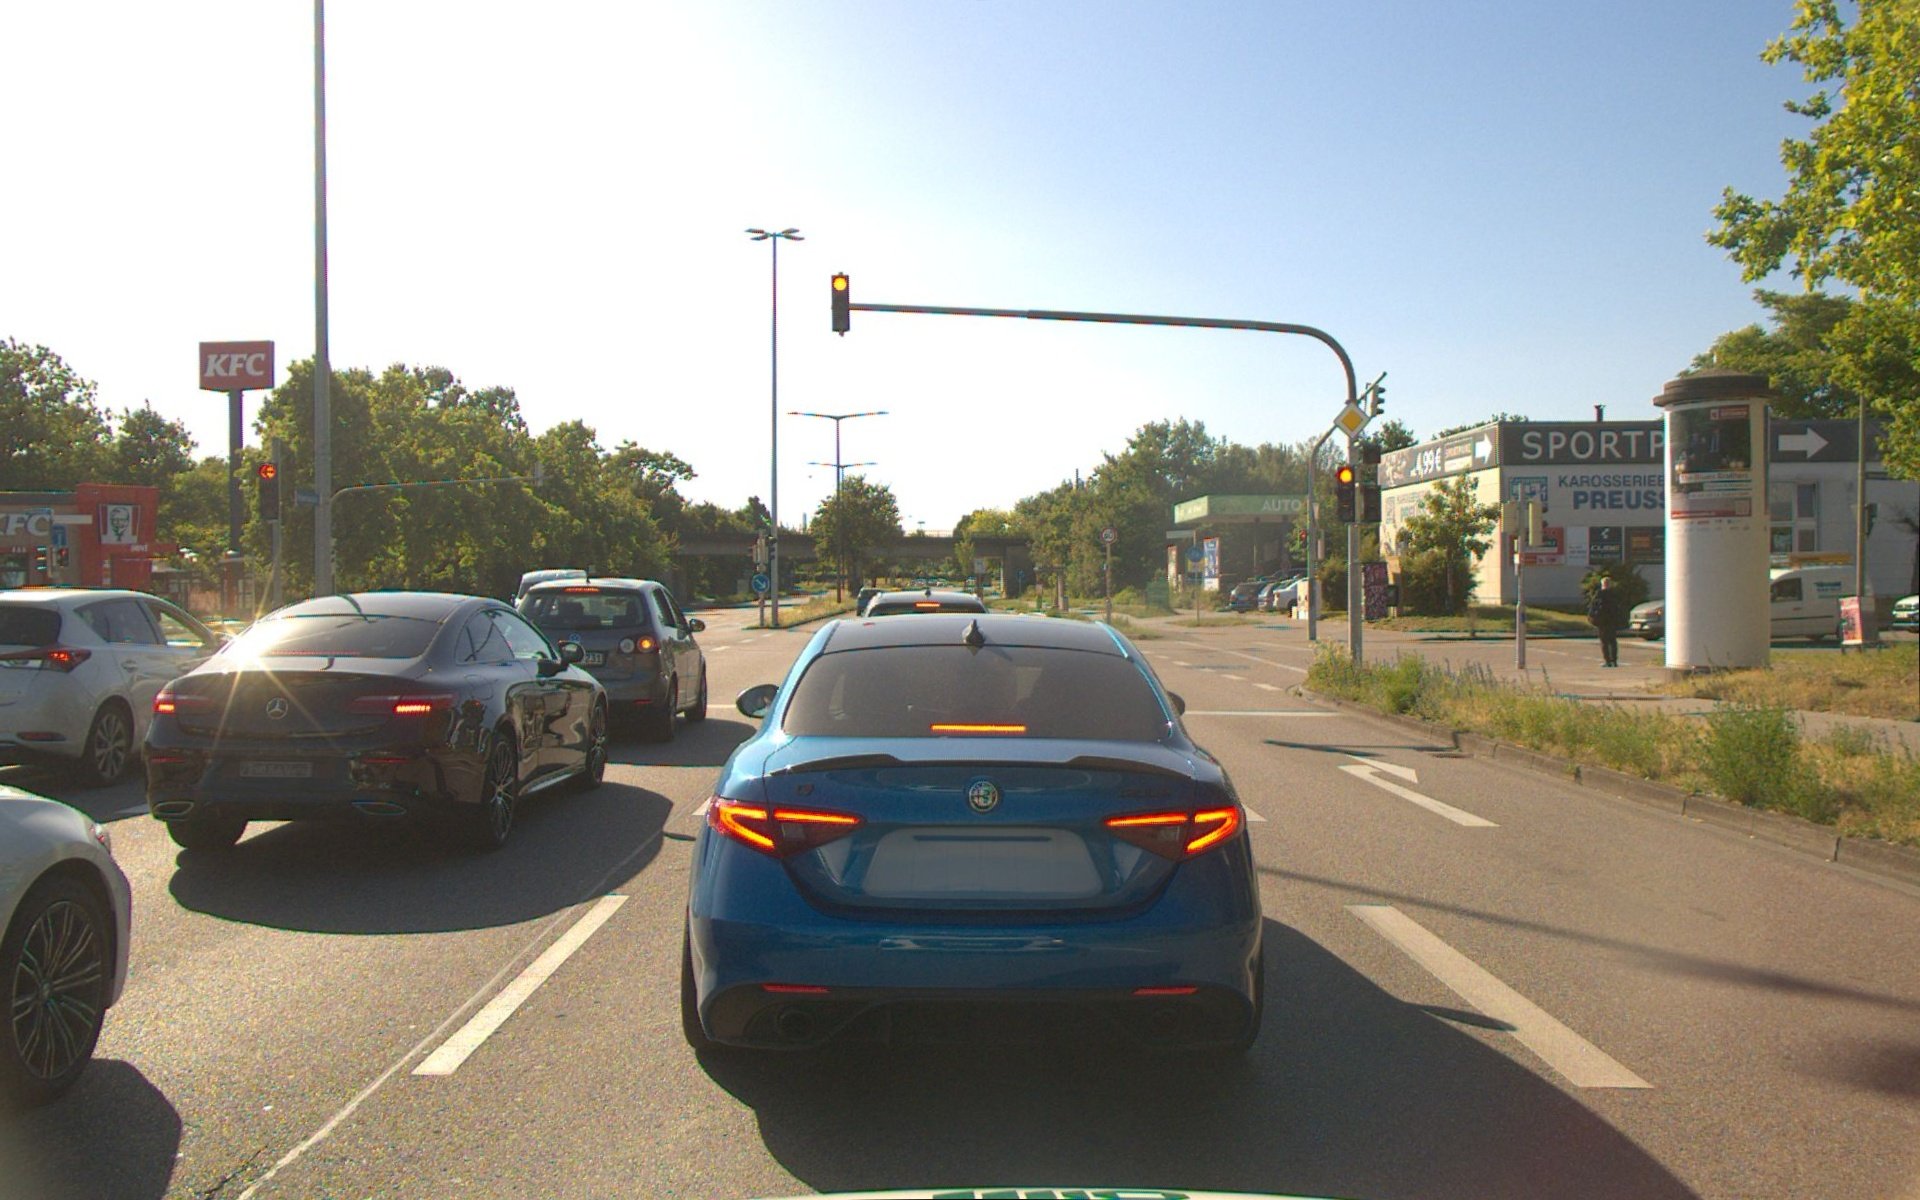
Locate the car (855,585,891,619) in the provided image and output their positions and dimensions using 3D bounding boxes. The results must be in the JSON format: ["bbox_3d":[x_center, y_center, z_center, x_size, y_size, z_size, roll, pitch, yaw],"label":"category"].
[{"bbox_3d":[-4.886,0.120,93.634,1.853,1.847,3.999,1,0,-1],"label":"car"}]

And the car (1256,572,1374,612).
[{"bbox_3d":[14.486,-0.322,67.586,4.397,1.479,1.858,-2,0,1],"label":"car"}]

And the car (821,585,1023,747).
[{"bbox_3d":[-0.413,0.606,17.236,1.813,1.443,4.401,1,0,-2],"label":"car"}]

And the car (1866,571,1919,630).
[{"bbox_3d":[26.345,-0.043,43.587,3.960,1.516,1.782,-2,0,-3],"label":"car"}]

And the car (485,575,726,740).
[{"bbox_3d":[-3.623,0.544,17.664,1.723,1.516,4.401,1,0,-2],"label":"car"}]

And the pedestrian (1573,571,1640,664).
[{"bbox_3d":[12.573,0.329,32.176,0.906,1.765,0.938,1,-1,-1],"label":"pedestrian"}]

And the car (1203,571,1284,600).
[{"bbox_3d":[16.724,-0.852,97.596,4.457,1.516,1.765,-2,0,1],"label":"car"}]

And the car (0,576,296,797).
[{"bbox_3d":[-7.084,0.594,13.507,1.723,1.516,4.195,1,0,-2],"label":"car"}]

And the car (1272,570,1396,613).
[{"bbox_3d":[14.609,-0.322,64.809,4.397,1.479,1.858,-2,0,1],"label":"car"}]

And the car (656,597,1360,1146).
[{"bbox_3d":[0.068,0.737,6.608,1.857,1.443,4.401,1,0,-2],"label":"car"}]

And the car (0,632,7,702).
[{"bbox_3d":[-20.109,1.389,31.561,1.695,1.434,4.299,-3,0,-7],"label":"car"}]

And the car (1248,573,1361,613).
[{"bbox_3d":[14.630,-0.299,70.342,4.397,1.479,1.858,-2,0,1],"label":"car"}]

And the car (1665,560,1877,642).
[{"bbox_3d":[19.568,-0.008,40.012,4.293,1.833,1.764,-1,2,-2],"label":"car"}]

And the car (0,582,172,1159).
[{"bbox_3d":[-3.343,0.691,3.062,1.749,1.516,4.401,1,0,-2],"label":"car"}]

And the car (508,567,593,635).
[{"bbox_3d":[-16.385,0.021,66.486,1.981,2.489,5.820,-3,0,-1],"label":"car"}]

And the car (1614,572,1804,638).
[{"bbox_3d":[19.597,0.111,43.390,4.201,1.576,1.764,-1,2,-2],"label":"car"}]

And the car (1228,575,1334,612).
[{"bbox_3d":[14.401,-0.291,74.388,4.397,1.479,1.858,-2,0,1],"label":"car"}]

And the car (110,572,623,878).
[{"bbox_3d":[-3.438,0.641,10.566,1.760,1.516,4.474,1,0,-2],"label":"car"}]
